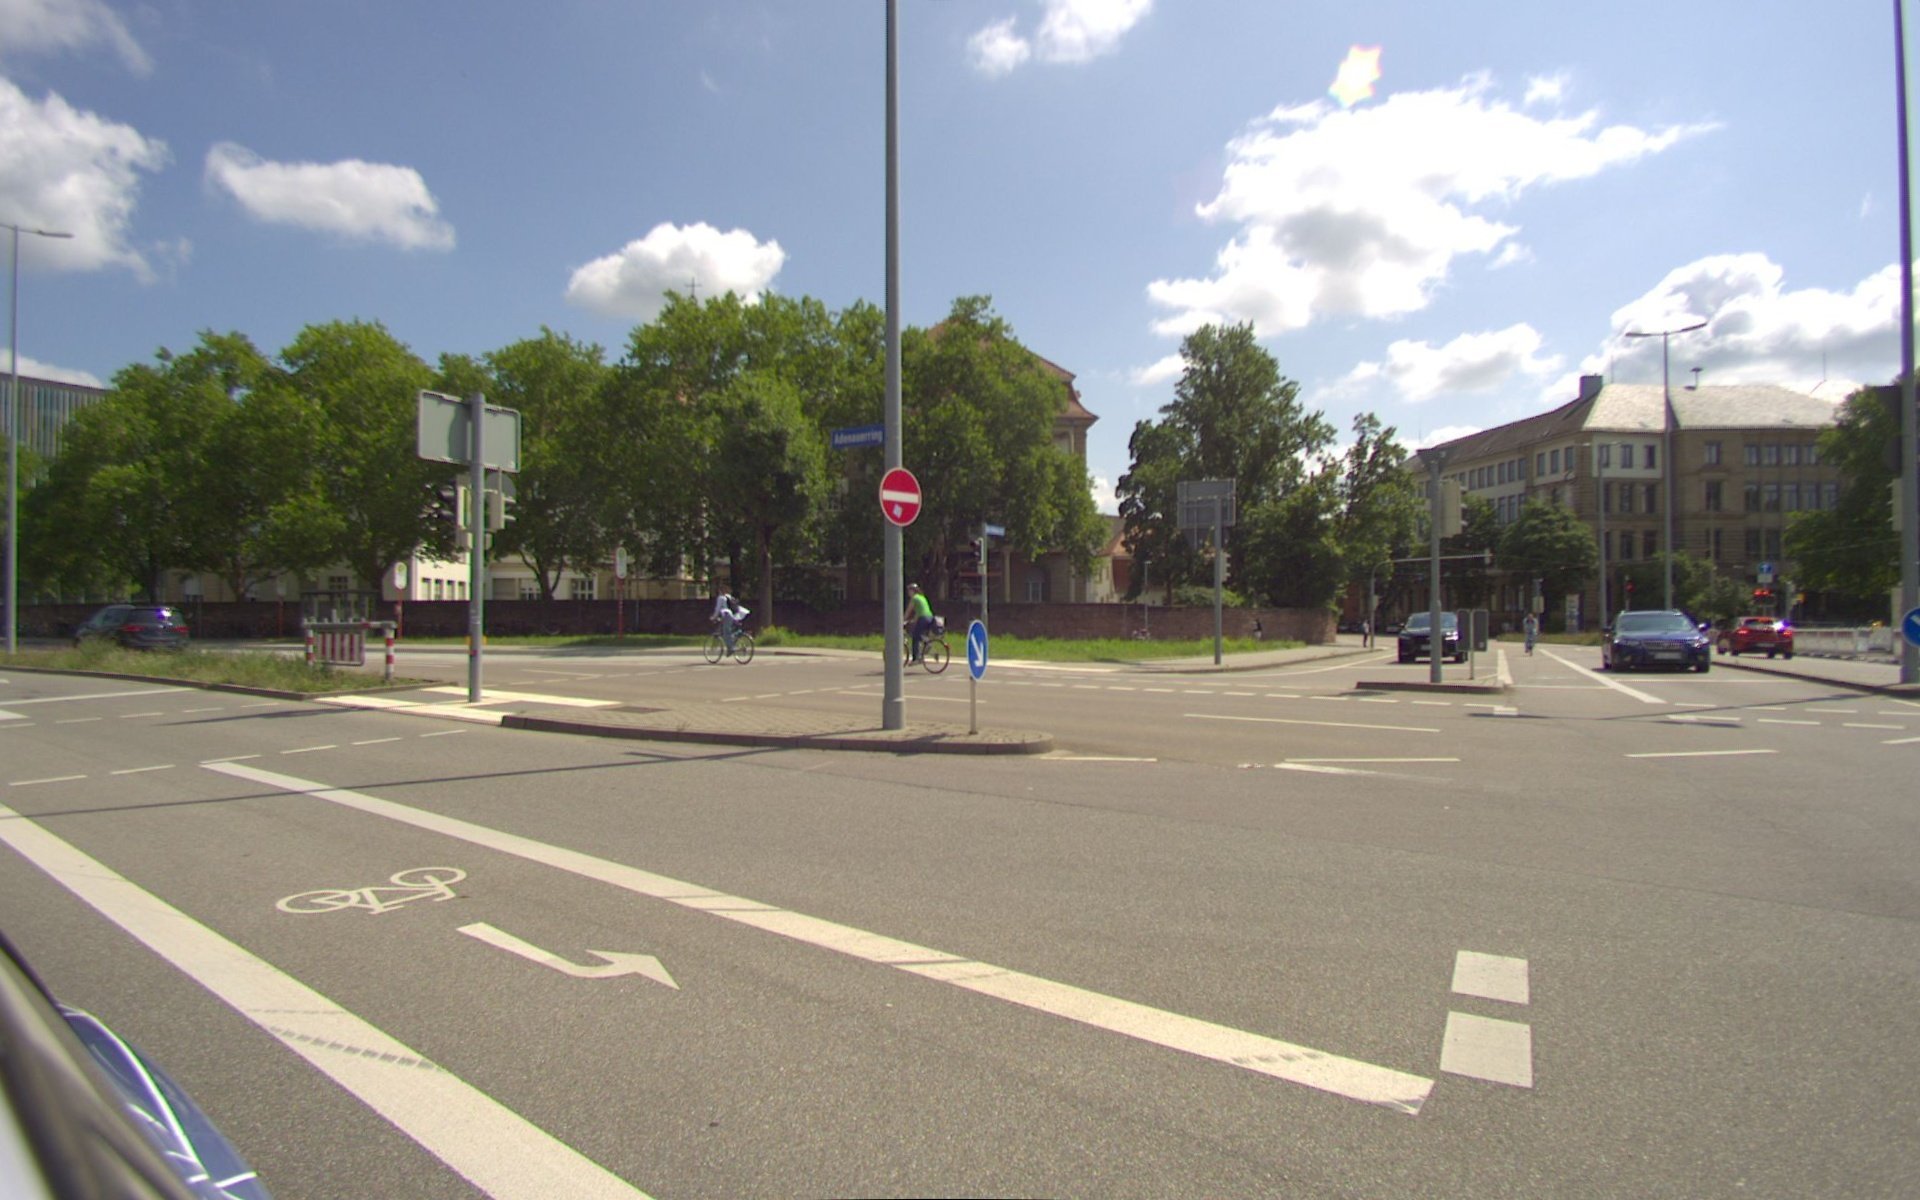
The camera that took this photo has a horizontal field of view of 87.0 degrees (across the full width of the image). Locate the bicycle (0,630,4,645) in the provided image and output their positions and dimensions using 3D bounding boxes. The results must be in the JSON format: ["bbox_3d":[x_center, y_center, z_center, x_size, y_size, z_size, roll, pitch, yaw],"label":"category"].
[{"bbox_3d":[-66.247,2.574,69.757,0.324,1.025,1.674,1,-2,-37],"label":"bicycle"}]

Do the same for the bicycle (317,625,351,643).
[{"bbox_3d":[-36.799,2.008,59.479,1.938,1.051,0.396,0,-2,13],"label":"bicycle"}]

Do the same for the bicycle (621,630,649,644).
[{"bbox_3d":[-18.123,2.063,56.436,1.447,0.795,0.397,0,-1,5],"label":"bicycle"}]

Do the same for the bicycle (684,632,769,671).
[{"bbox_3d":[-5.556,1.209,24.035,2.103,0.896,0.769,-1,-2,35],"label":"bicycle"}]

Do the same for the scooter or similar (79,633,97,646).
[{"bbox_3d":[-55.750,2.528,64.690,1.061,0.850,0.351,-1,-2,19],"label":"scooter or similar"}]

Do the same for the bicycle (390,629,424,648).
[{"bbox_3d":[-31.837,2.205,58.223,1.938,1.051,0.396,0,-2,13],"label":"bicycle"}]

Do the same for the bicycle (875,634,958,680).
[{"bbox_3d":[-0.895,1.134,20.551,1.741,0.896,0.561,-2,-2,38],"label":"bicycle"}]

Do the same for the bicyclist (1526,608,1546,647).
[{"bbox_3d":[23.226,1.100,40.822,0.666,1.545,0.640,0,0,34],"label":"bicyclist"}]

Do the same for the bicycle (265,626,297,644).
[{"bbox_3d":[-40.452,2.092,60.321,1.939,1.051,0.396,0,-2,15],"label":"bicycle"}]

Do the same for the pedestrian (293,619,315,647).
[{"bbox_3d":[-37.455,1.881,57.755,0.770,1.623,0.722,0,-1,2],"label":"pedestrian"}]

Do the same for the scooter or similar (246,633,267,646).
[{"bbox_3d":[-41.725,2.333,60.010,1.057,0.800,0.352,0,-1,7],"label":"scooter or similar"}]

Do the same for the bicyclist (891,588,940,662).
[{"bbox_3d":[-0.905,0.503,20.574,0.836,1.473,0.560,-2,-2,38],"label":"bicyclist"}]

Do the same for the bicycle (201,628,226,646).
[{"bbox_3d":[-45.683,2.251,61.908,1.570,1.051,0.396,-1,-2,18],"label":"bicycle"}]

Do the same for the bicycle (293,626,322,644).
[{"bbox_3d":[-38.638,2.067,59.898,1.623,1.051,0.396,0,-2,13],"label":"bicycle"}]

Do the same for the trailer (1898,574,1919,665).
[{"bbox_3d":[32.422,0.623,31.427,1.965,2.935,4.380,0,0,-22],"label":"trailer"}]

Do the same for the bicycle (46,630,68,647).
[{"bbox_3d":[-59.966,2.558,67.199,1.659,1.116,0.380,-1,-2,23],"label":"bicycle"}]

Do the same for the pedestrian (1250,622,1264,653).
[{"bbox_3d":[17.075,2.153,58.185,0.669,1.708,0.489,0,0,-7],"label":"pedestrian"}]

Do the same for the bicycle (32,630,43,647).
[{"bbox_3d":[-61.714,2.555,67.728,0.376,1.116,1.674,1,-2,-37],"label":"bicycle"}]

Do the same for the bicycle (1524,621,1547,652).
[{"bbox_3d":[23.184,1.453,40.767,0.666,1.155,2.045,0,0,33],"label":"bicycle"}]

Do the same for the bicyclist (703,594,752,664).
[{"bbox_3d":[-5.529,0.693,24.032,0.841,1.631,0.769,-1,-2,34],"label":"bicyclist"}]

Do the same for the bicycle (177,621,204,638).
[{"bbox_3d":[-47.545,1.805,62.546,1.747,1.051,0.396,-1,-2,18],"label":"bicycle"}]

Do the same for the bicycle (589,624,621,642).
[{"bbox_3d":[-19.849,1.851,56.556,1.666,1.038,0.397,0,-1,5],"label":"bicycle"}]

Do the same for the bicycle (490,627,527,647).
[{"bbox_3d":[-25.546,2.107,57.289,2.015,1.146,0.397,0,-1,8],"label":"bicycle"}]

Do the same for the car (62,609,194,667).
[{"bbox_3d":[-25.173,1.115,30.585,4.141,1.636,1.867,-1,-1,32],"label":"car"}]

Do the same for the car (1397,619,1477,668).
[{"bbox_3d":[15.766,1.404,33.333,1.993,1.497,4.463,-1,-2,31],"label":"car"}]

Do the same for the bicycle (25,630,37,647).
[{"bbox_3d":[-62.426,2.558,68.005,0.376,1.116,1.674,1,-2,-37],"label":"bicycle"}]

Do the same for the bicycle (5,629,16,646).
[{"bbox_3d":[-64.460,2.519,68.708,0.376,1.116,1.674,1,-2,-37],"label":"bicycle"}]

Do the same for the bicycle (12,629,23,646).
[{"bbox_3d":[-63.956,2.525,68.701,0.376,1.116,1.674,1,-2,-37],"label":"bicycle"}]

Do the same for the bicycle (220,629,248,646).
[{"bbox_3d":[-44.041,2.279,61.382,1.747,1.011,0.396,-1,-2,18],"label":"bicycle"}]

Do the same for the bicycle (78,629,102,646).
[{"bbox_3d":[-56.540,2.455,65.779,1.657,1.116,0.380,-1,-2,20],"label":"bicycle"}]

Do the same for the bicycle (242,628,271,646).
[{"bbox_3d":[-42.314,2.227,60.848,1.746,1.051,0.396,-1,-2,16],"label":"bicycle"}]

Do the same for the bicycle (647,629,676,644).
[{"bbox_3d":[-16.592,2.022,56.283,1.525,0.795,0.397,0,-1,5],"label":"bicycle"}]

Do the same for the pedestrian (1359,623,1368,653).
[{"bbox_3d":[24.797,2.331,62.139,0.434,1.834,0.567,0,0,14],"label":"pedestrian"}]

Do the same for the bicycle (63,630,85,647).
[{"bbox_3d":[-58.120,2.506,66.378,1.658,1.116,0.380,-1,-2,21],"label":"bicycle"}]

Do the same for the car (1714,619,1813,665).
[{"bbox_3d":[28.042,1.450,35.459,1.990,1.497,3.868,-1,-2,28],"label":"car"}]

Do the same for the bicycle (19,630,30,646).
[{"bbox_3d":[-63.209,2.564,68.366,0.376,1.116,1.674,1,-2,-37],"label":"bicycle"}]

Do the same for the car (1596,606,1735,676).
[{"bbox_3d":[16.570,0.946,24.010,1.990,1.497,4.626,-1,-2,26],"label":"car"}]
